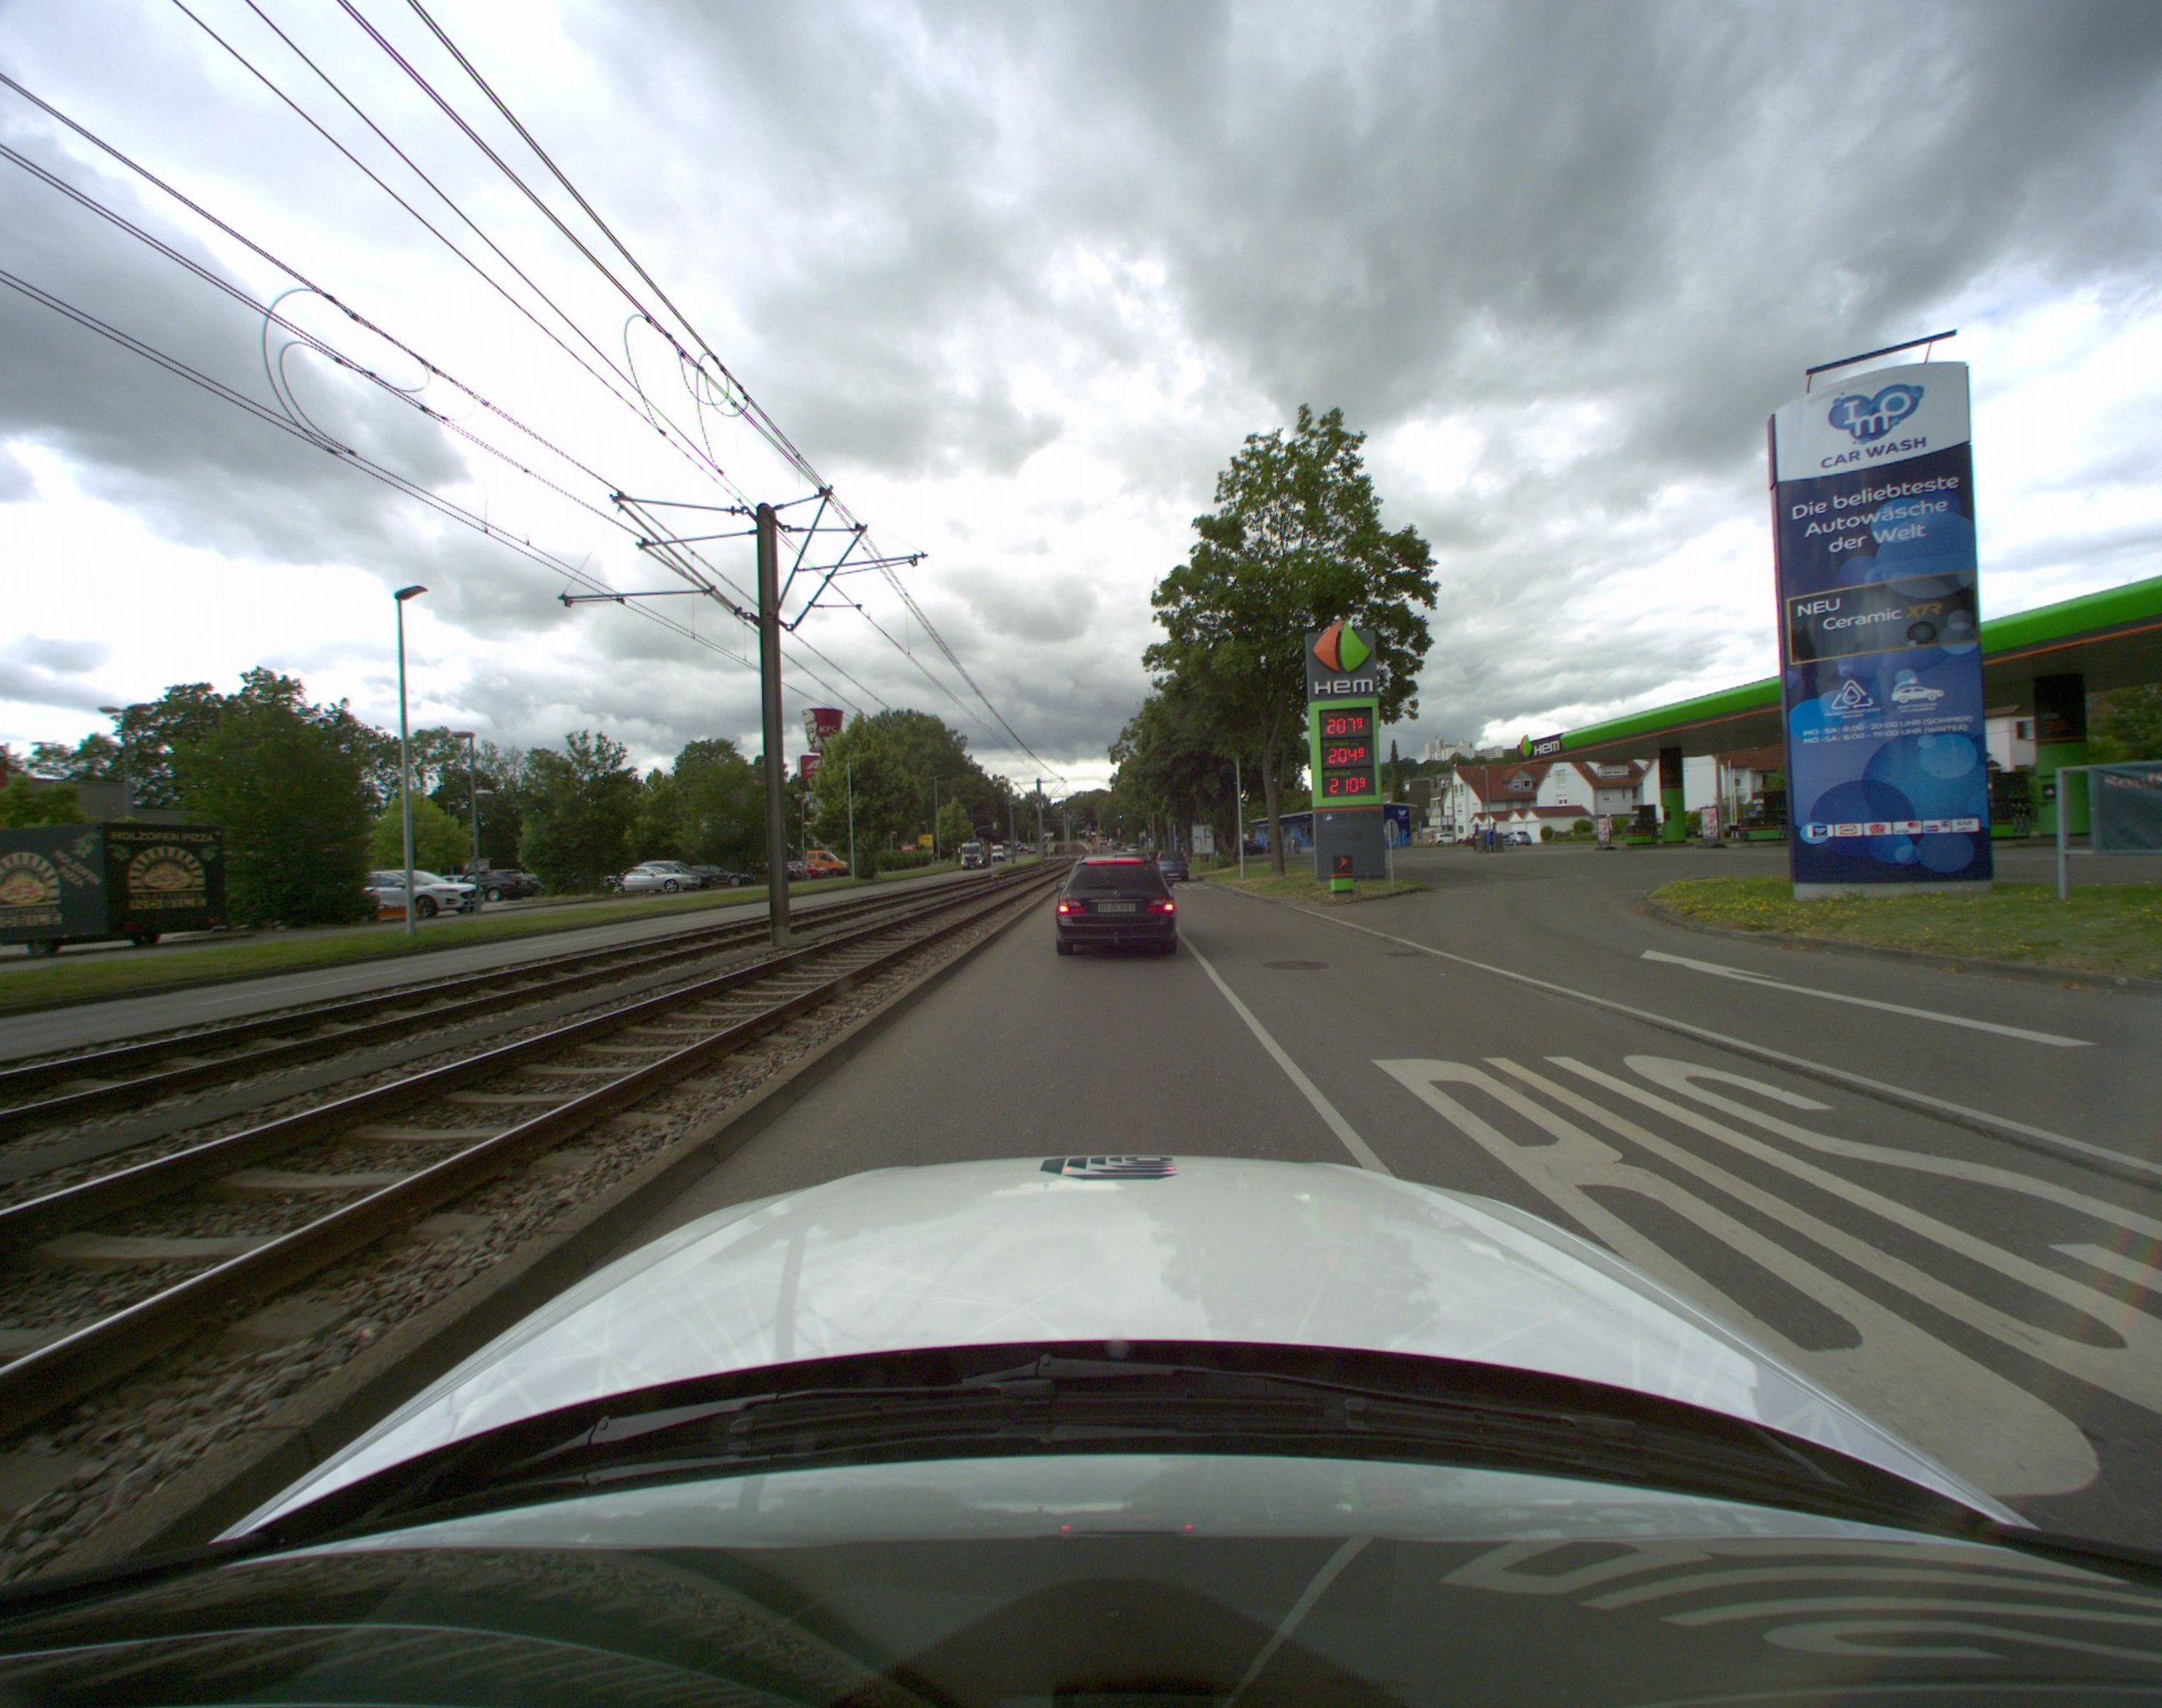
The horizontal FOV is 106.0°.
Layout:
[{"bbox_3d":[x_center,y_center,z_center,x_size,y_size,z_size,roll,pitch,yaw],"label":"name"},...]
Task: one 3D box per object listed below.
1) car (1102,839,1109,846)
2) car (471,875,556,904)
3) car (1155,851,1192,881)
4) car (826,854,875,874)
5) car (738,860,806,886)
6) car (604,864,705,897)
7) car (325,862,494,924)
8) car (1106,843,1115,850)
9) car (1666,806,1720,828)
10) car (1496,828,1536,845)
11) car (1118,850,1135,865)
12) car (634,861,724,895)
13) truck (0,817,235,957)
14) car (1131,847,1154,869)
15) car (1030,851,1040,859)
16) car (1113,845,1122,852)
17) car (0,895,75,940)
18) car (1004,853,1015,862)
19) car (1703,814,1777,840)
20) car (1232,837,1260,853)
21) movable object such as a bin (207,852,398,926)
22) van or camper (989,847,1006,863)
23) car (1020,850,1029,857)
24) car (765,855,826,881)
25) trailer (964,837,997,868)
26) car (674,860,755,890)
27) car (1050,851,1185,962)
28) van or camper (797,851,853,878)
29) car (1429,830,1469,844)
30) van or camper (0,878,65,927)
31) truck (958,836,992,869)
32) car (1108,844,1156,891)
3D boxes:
[{"bbox_3d":[6.708,-2.996,220.873,1.986,1.838,4.002,-1,0,2],"label":"car"},{"bbox_3d":[-33.757,2.074,48.501,3.736,1.472,1.677,-3,0,-5],"label":"car"},{"bbox_3d":[4.530,0.590,40.140,1.565,1.414,3.356,0,0,2],"label":"car"},{"bbox_3d":[-21.540,0.941,76.119,3.978,1.599,1.795,-3,0,-3],"label":"car"},{"bbox_3d":[-21.593,1.296,57.033,3.978,1.599,1.876,-3,0,-3],"label":"car"},{"bbox_3d":[-22.103,1.347,42.329,4.293,1.472,1.680,-2,0,-1],"label":"car"},{"bbox_3d":[-22.592,1.269,27.521,3.978,1.797,1.876,-3,0,-3],"label":"car"},{"bbox_3d":[7.213,-1.861,198.163,1.986,1.714,4.002,-2,0,2],"label":"car"},{"bbox_3d":[51.939,-3.115,69.194,1.683,1.684,4.002,-3,0,2],"label":"car"},{"bbox_3d":[43.382,-1.713,81.300,1.533,1.599,3.724,-1,0,-10],"label":"car"},{"bbox_3d":[5.725,0.416,102.573,1.986,1.838,4.002,-1,0,2],"label":"car"},{"bbox_3d":[-22.156,1.290,44.994,3.978,1.635,1.876,-3,0,-3],"label":"car"},{"bbox_3d":[-22.278,0.722,18.238,3.975,2.821,2.375,-3,0,-1],"label":"truck"},{"bbox_3d":[4.183,0.281,55.881,1.460,1.414,3.356,0,0,2],"label":"car"},{"bbox_3d":[-9.683,0.143,172.915,1.758,1.647,3.772,-1,0,2],"label":"car"},{"bbox_3d":[7.826,-1.149,176.388,1.662,1.532,3.768,-1,0,-2],"label":"car"},{"bbox_3d":[-39.525,2.378,29.499,3.736,1.472,1.677,-3,0,-5],"label":"car"},{"bbox_3d":[-13.524,0.678,154.296,1.758,1.647,3.772,-1,0,2],"label":"car"},{"bbox_3d":[47.557,-1.923,58.851,1.755,1.689,3.986,-1,0,-10],"label":"car"},{"bbox_3d":[19.078,-1.020,93.986,1.987,1.682,4.607,-3,0,26],"label":"car"},{"bbox_3d":[-23.388,1.020,24.581,3.977,1.937,1.678,-3,0,-2],"label":"movable object such as a bin"},{"bbox_3d":[-13.286,0.116,129.707,1.987,2.354,5.765,-3,0,0],"label":"van or camper"},{"bbox_3d":[-13.820,-0.052,200.195,1.758,1.647,3.772,-1,0,2],"label":"car"},{"bbox_3d":[-21.789,1.059,62.357,3.978,1.797,1.876,-1,0,-3],"label":"car"},{"bbox_3d":[-12.795,-0.209,104.770,2.697,3.660,13.292,-3,0,-1],"label":"trailer"},{"bbox_3d":[-22.287,1.249,49.649,3.978,1.599,1.876,-3,0,-3],"label":"car"},{"bbox_3d":[0.564,0.709,13.020,1.801,1.474,3.883,-1,0,2],"label":"car"},{"bbox_3d":[-21.146,0.818,67.418,3.978,2.135,1.876,-1,0,-3],"label":"van or camper"},{"bbox_3d":[46.354,-2.133,102.557,4.203,1.684,1.777,-1,0,-1],"label":"car"},{"bbox_3d":[-50.562,2.311,37.771,4.252,2.145,1.820,-3,0,-3],"label":"van or camper"},{"bbox_3d":[-12.693,-0.180,98.512,2.698,3.663,11.107,-3,0,-1],"label":"truck"},{"bbox_3d":[1.969,0.514,32.355,1.773,1.750,3.719,0,0,2],"label":"car"}]
